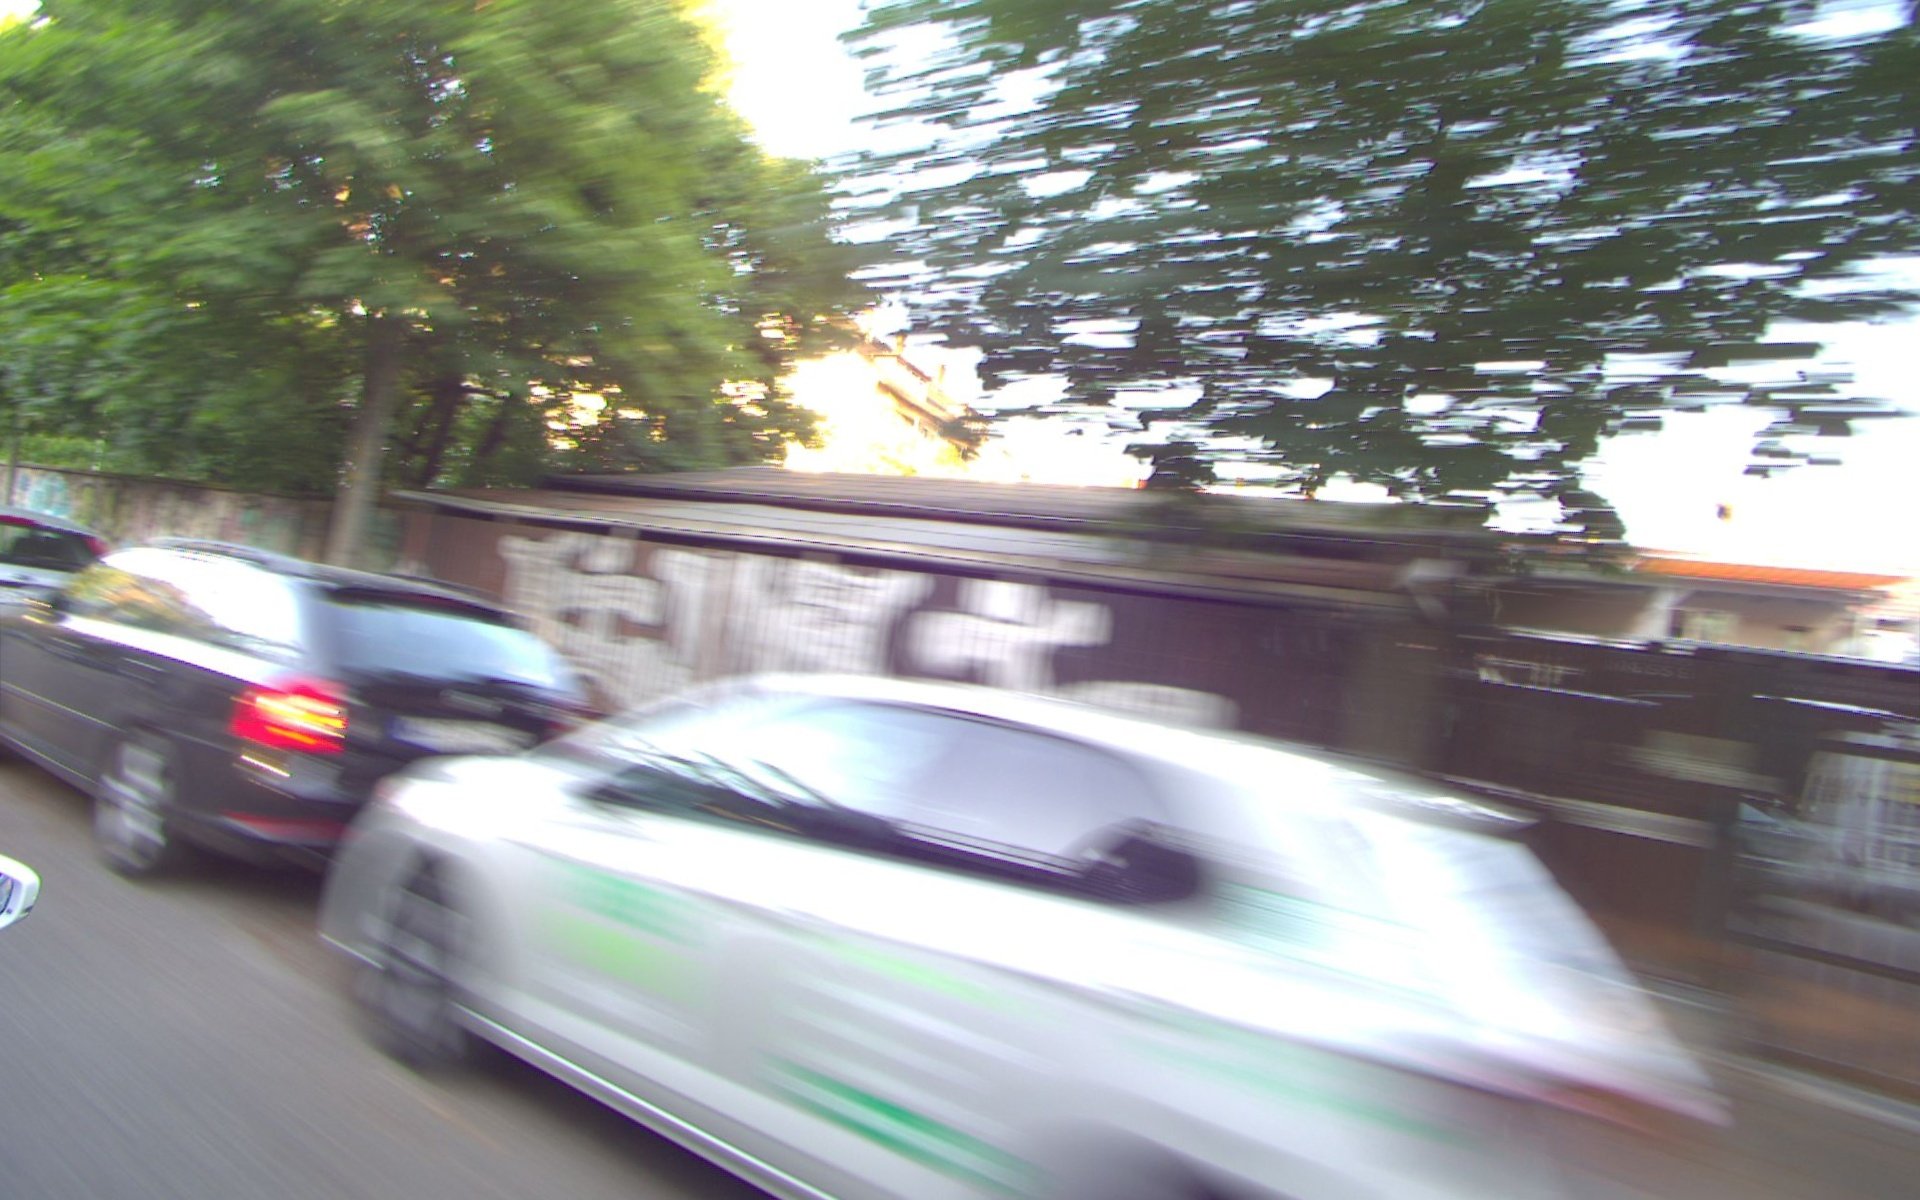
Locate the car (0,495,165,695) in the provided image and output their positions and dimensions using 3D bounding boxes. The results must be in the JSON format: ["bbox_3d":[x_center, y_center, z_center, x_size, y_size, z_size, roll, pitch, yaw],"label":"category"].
[{"bbox_3d":[-9.054,-0.249,8.958,3.809,1.457,1.764,8,-2,32],"label":"car"}]

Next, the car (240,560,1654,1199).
[{"bbox_3d":[-0.310,0.935,3.256,3.939,1.458,1.764,8,-2,32],"label":"car"}]

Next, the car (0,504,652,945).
[{"bbox_3d":[-3.981,0.443,5.605,4.319,1.469,1.765,7,-4,32],"label":"car"}]

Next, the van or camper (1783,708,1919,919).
[{"bbox_3d":[13.113,2.932,13.692,1.966,2.480,4.000,9,-2,29],"label":"van or camper"}]
